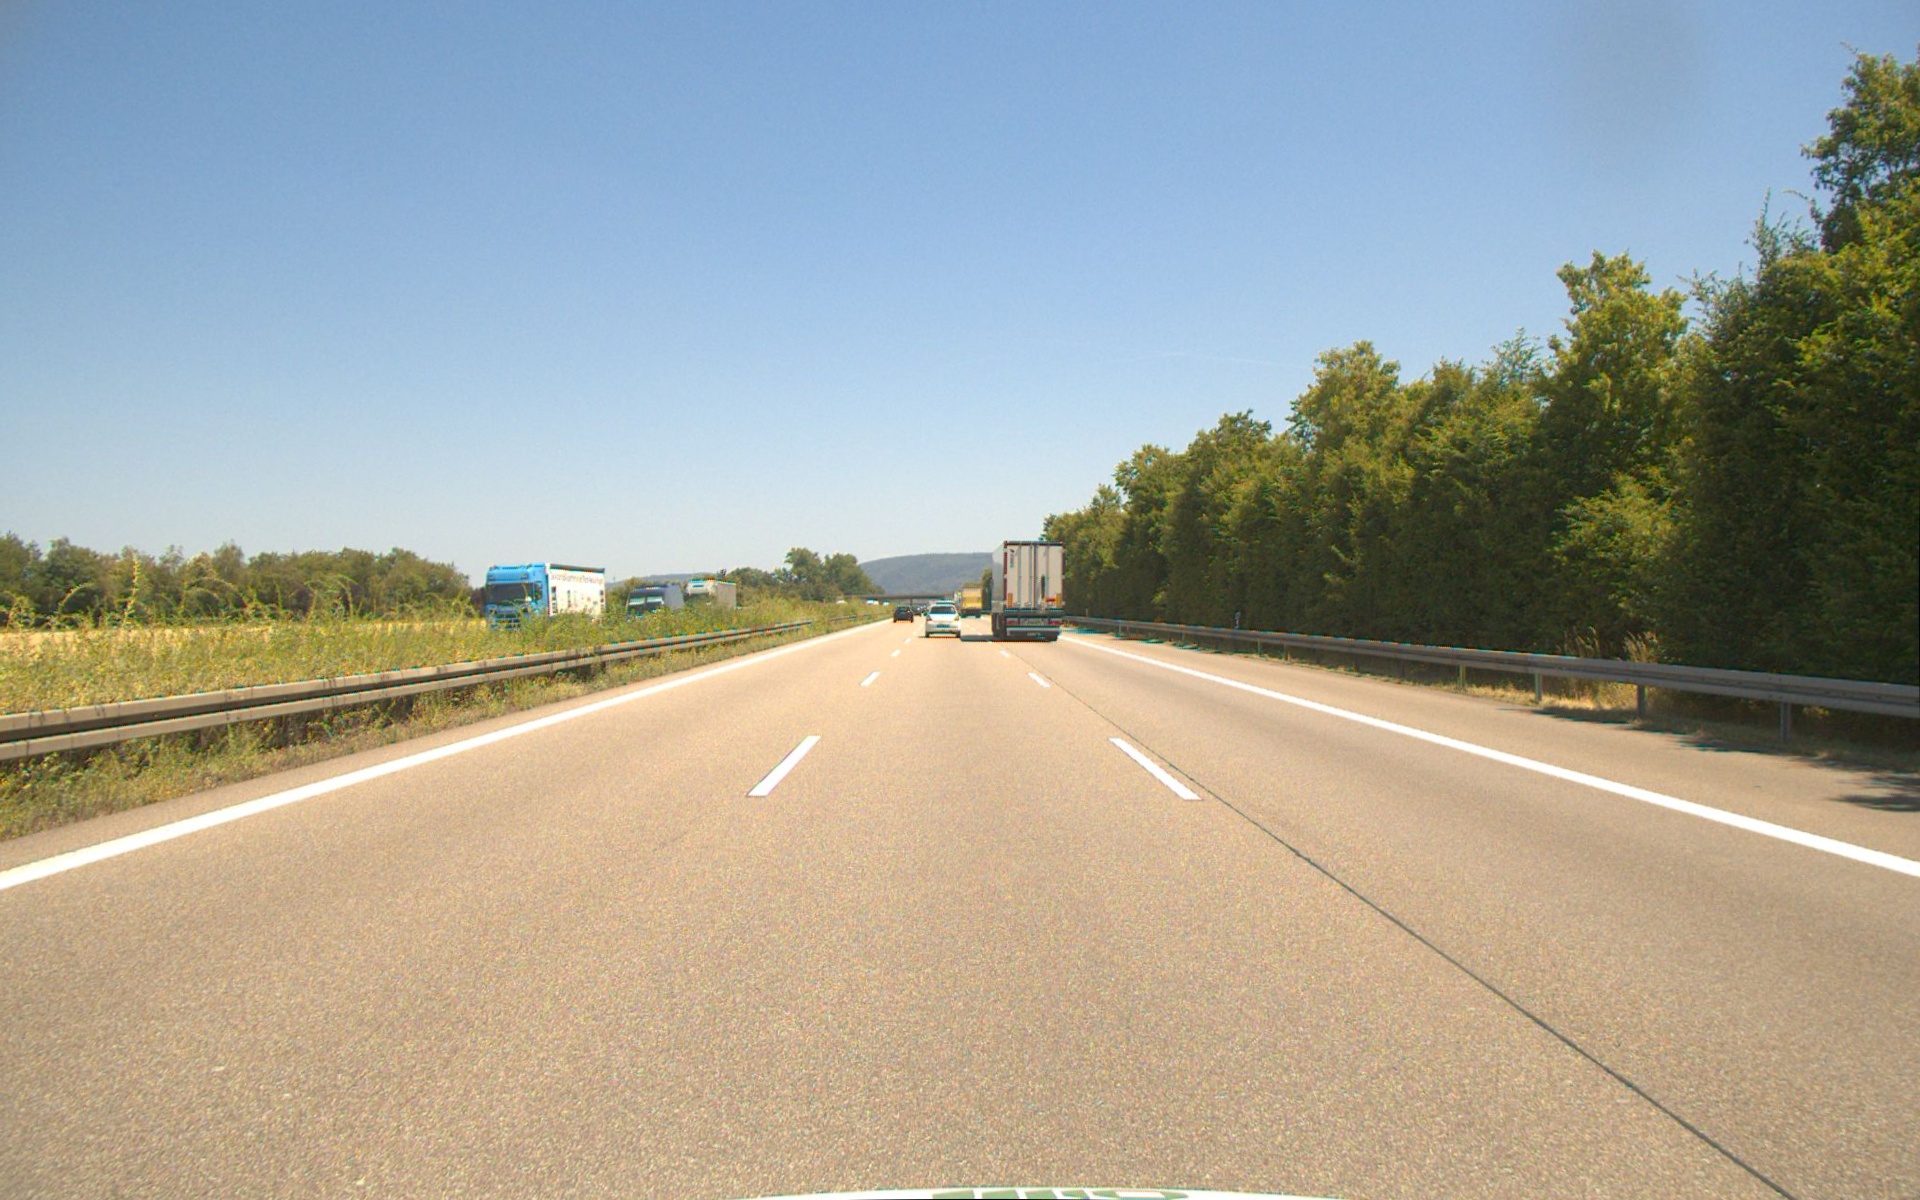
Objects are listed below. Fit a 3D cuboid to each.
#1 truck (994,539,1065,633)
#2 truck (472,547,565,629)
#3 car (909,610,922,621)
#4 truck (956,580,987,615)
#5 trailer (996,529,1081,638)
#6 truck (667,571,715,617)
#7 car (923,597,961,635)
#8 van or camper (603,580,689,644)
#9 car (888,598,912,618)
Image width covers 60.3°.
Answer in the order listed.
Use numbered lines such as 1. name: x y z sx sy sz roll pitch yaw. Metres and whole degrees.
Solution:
1. truck: 3.356 -0.663 81.728 3.152 4.421 6.590 1 0 0
2. truck: -21.157 -0.570 79.544 3.046 3.763 5.197 1 0 -1
3. car: -6.388 2.231 236.347 1.759 1.578 3.999 0 0 -1
4. truck: 1.445 -0.319 218.963 3.793 4.421 13.857 1 0 -1
5. trailer: 3.351 -0.673 74.558 3.152 4.421 13.628 1 0 0
6. truck: -22.753 -0.509 140.138 3.282 3.763 6.061 1 0 -2
7. car: -0.872 0.723 77.505 1.697 1.713 3.999 -1 0 -1
8. van or camper: -16.664 0.603 88.484 2.557 3.156 11.508 -1 0 -1
9. car: -5.267 0.706 145.618 1.953 1.742 3.999 1 0 -1
